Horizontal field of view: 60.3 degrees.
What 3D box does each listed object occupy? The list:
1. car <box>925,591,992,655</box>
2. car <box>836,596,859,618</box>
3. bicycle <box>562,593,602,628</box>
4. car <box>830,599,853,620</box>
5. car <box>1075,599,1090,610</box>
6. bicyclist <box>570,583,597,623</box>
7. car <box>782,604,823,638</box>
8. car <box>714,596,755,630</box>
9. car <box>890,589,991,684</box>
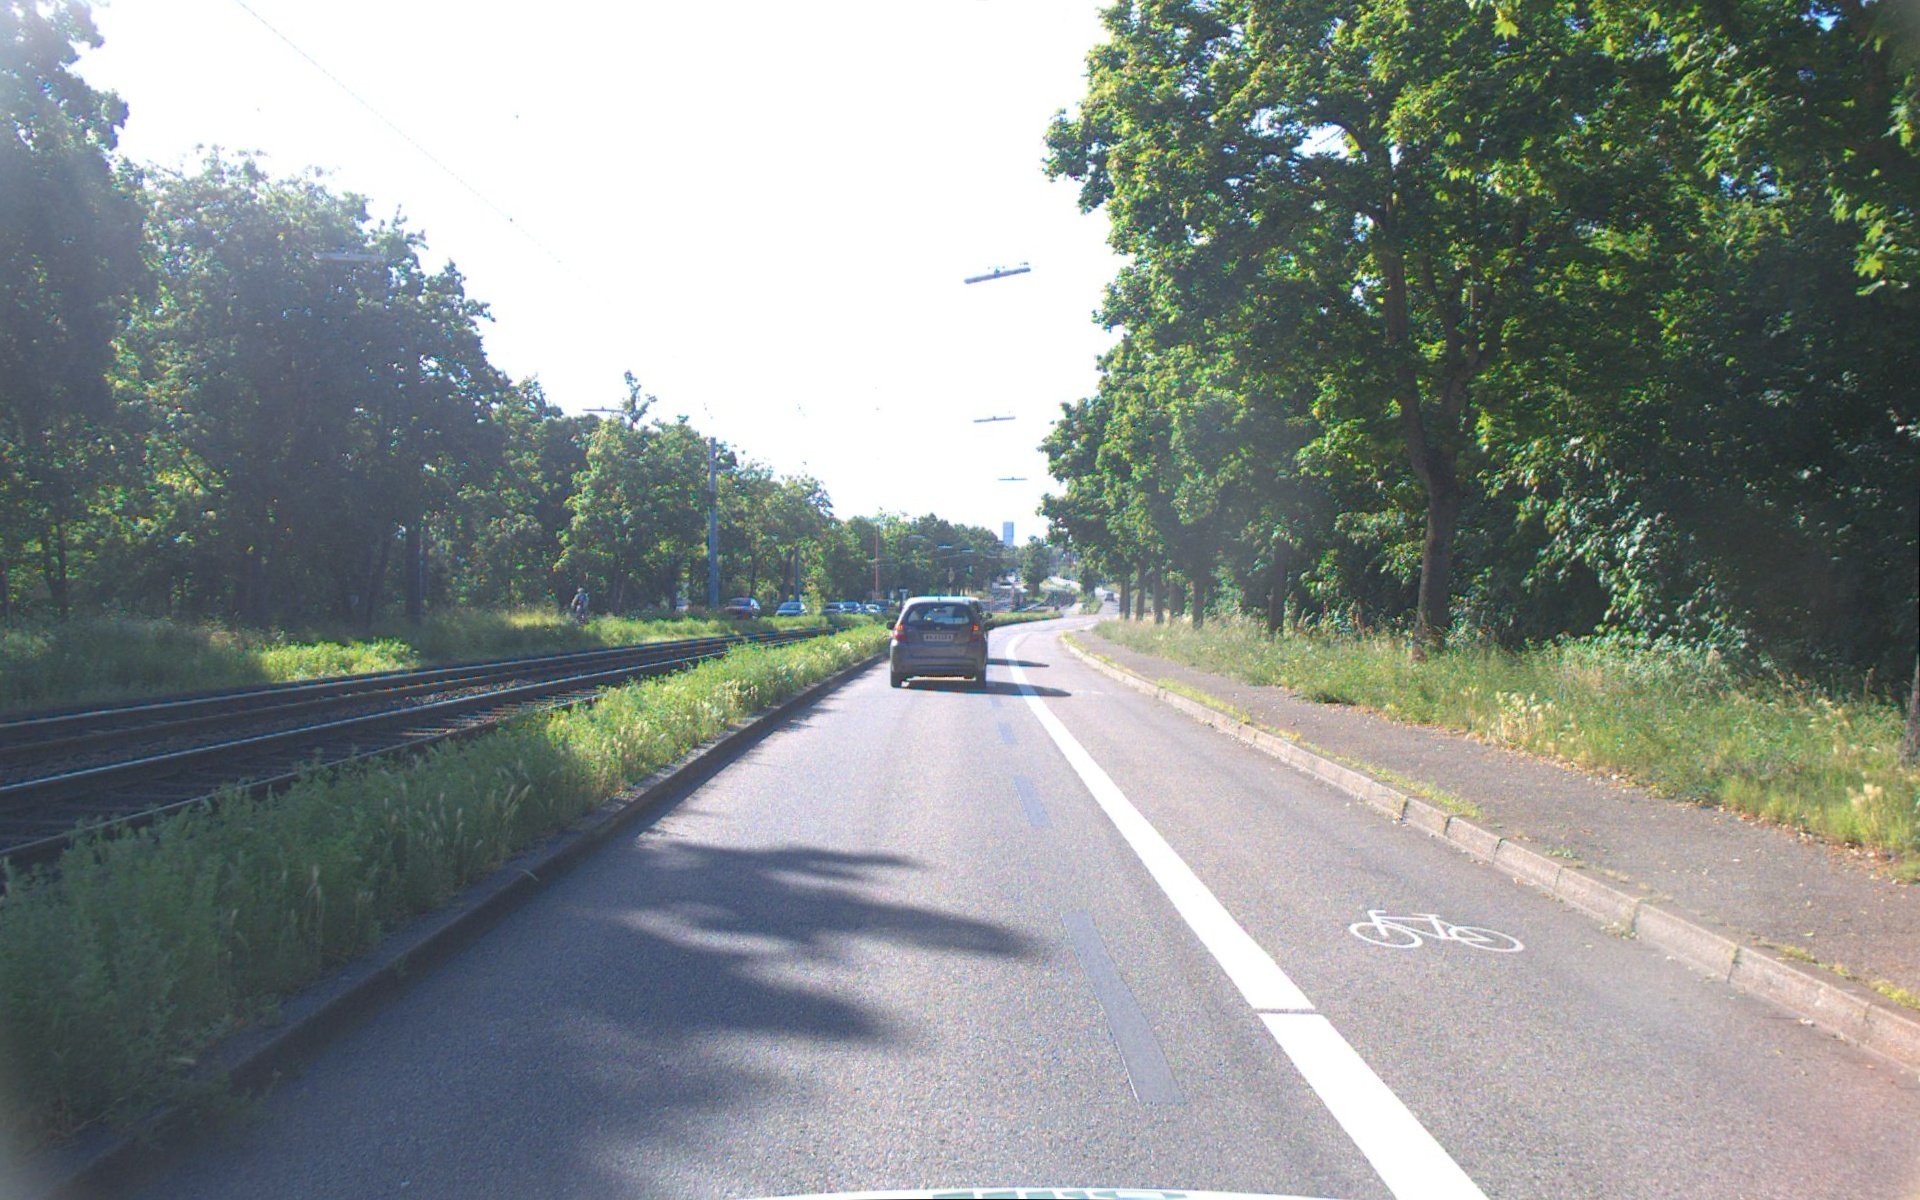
[{"bbox_3d":[-0.069,0.588,42.670,1.621,1.534,3.810,2,-1,-1],"label":"car"},{"bbox_3d":[-10.008,0.608,147.597,1.666,1.713,4.002,2,3,1],"label":"car"},{"bbox_3d":[-15.111,0.414,66.262,0.772,1.216,3.170,2,3,2],"label":"bicycle"},{"bbox_3d":[-10.099,0.788,141.403,1.590,1.578,4.002,2,3,1],"label":"car"},{"bbox_3d":[16.863,0.640,227.967,1.619,1.336,3.815,2,3,11],"label":"car"},{"bbox_3d":[-15.088,0.126,66.298,0.773,1.515,1.109,2,2,1],"label":"bicyclist"},{"bbox_3d":[-9.586,1.244,100.791,1.952,1.746,4.002,2,3,1],"label":"car"},{"bbox_3d":[-14.628,0.846,107.438,1.952,1.908,4.002,2,3,1],"label":"car"},{"bbox_3d":[-0.356,0.657,29.314,1.636,1.534,3.809,2,-2,-1],"label":"car"}]
